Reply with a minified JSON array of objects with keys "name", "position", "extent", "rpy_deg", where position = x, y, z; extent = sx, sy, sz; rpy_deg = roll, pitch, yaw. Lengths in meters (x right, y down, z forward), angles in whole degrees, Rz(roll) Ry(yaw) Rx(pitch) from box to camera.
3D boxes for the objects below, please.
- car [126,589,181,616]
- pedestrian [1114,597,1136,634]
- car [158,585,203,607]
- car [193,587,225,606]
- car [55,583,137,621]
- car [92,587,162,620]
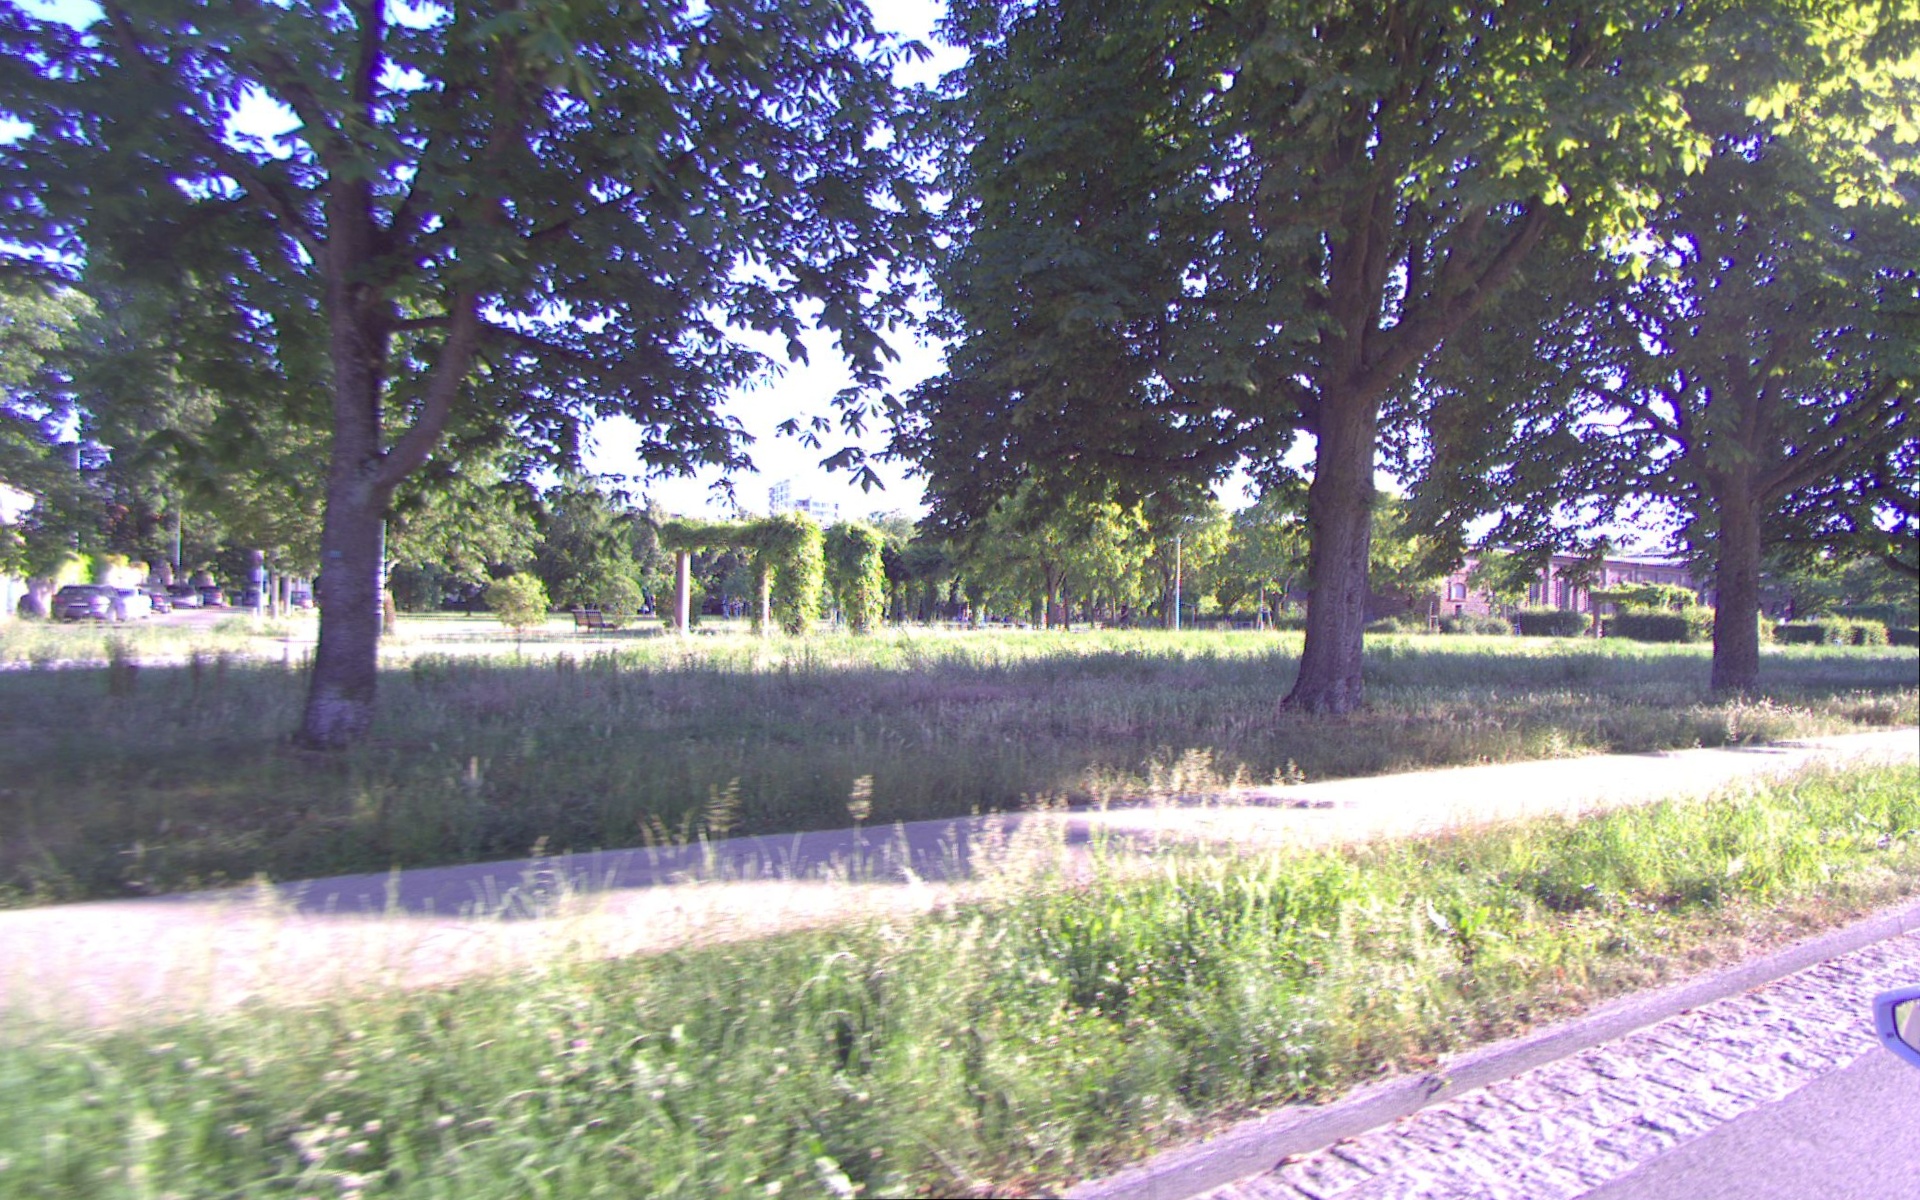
[{"name":"car","position":[-42.336,0.100,52.809],"extent":[1.567,1.297,3.613],"rpy_deg":[2,0,-28]},{"name":"pedestrian","position":[8.070,0.744,49.109],"extent":[0.764,1.747,0.714],"rpy_deg":[2,0,32]},{"name":"car","position":[-48.219,-0.257,62.209],"extent":[1.567,1.297,3.613],"rpy_deg":[2,0,-28]},{"name":"car","position":[-56.455,-0.261,75.575],"extent":[1.569,1.297,3.608],"rpy_deg":[2,0,-31]},{"name":"car","position":[-32.917,0.058,38.355],"extent":[1.567,1.297,3.613],"rpy_deg":[2,0,-28]},{"name":"car","position":[-36.216,0.139,43.739],"extent":[1.567,1.297,3.613],"rpy_deg":[2,0,-28]}]
